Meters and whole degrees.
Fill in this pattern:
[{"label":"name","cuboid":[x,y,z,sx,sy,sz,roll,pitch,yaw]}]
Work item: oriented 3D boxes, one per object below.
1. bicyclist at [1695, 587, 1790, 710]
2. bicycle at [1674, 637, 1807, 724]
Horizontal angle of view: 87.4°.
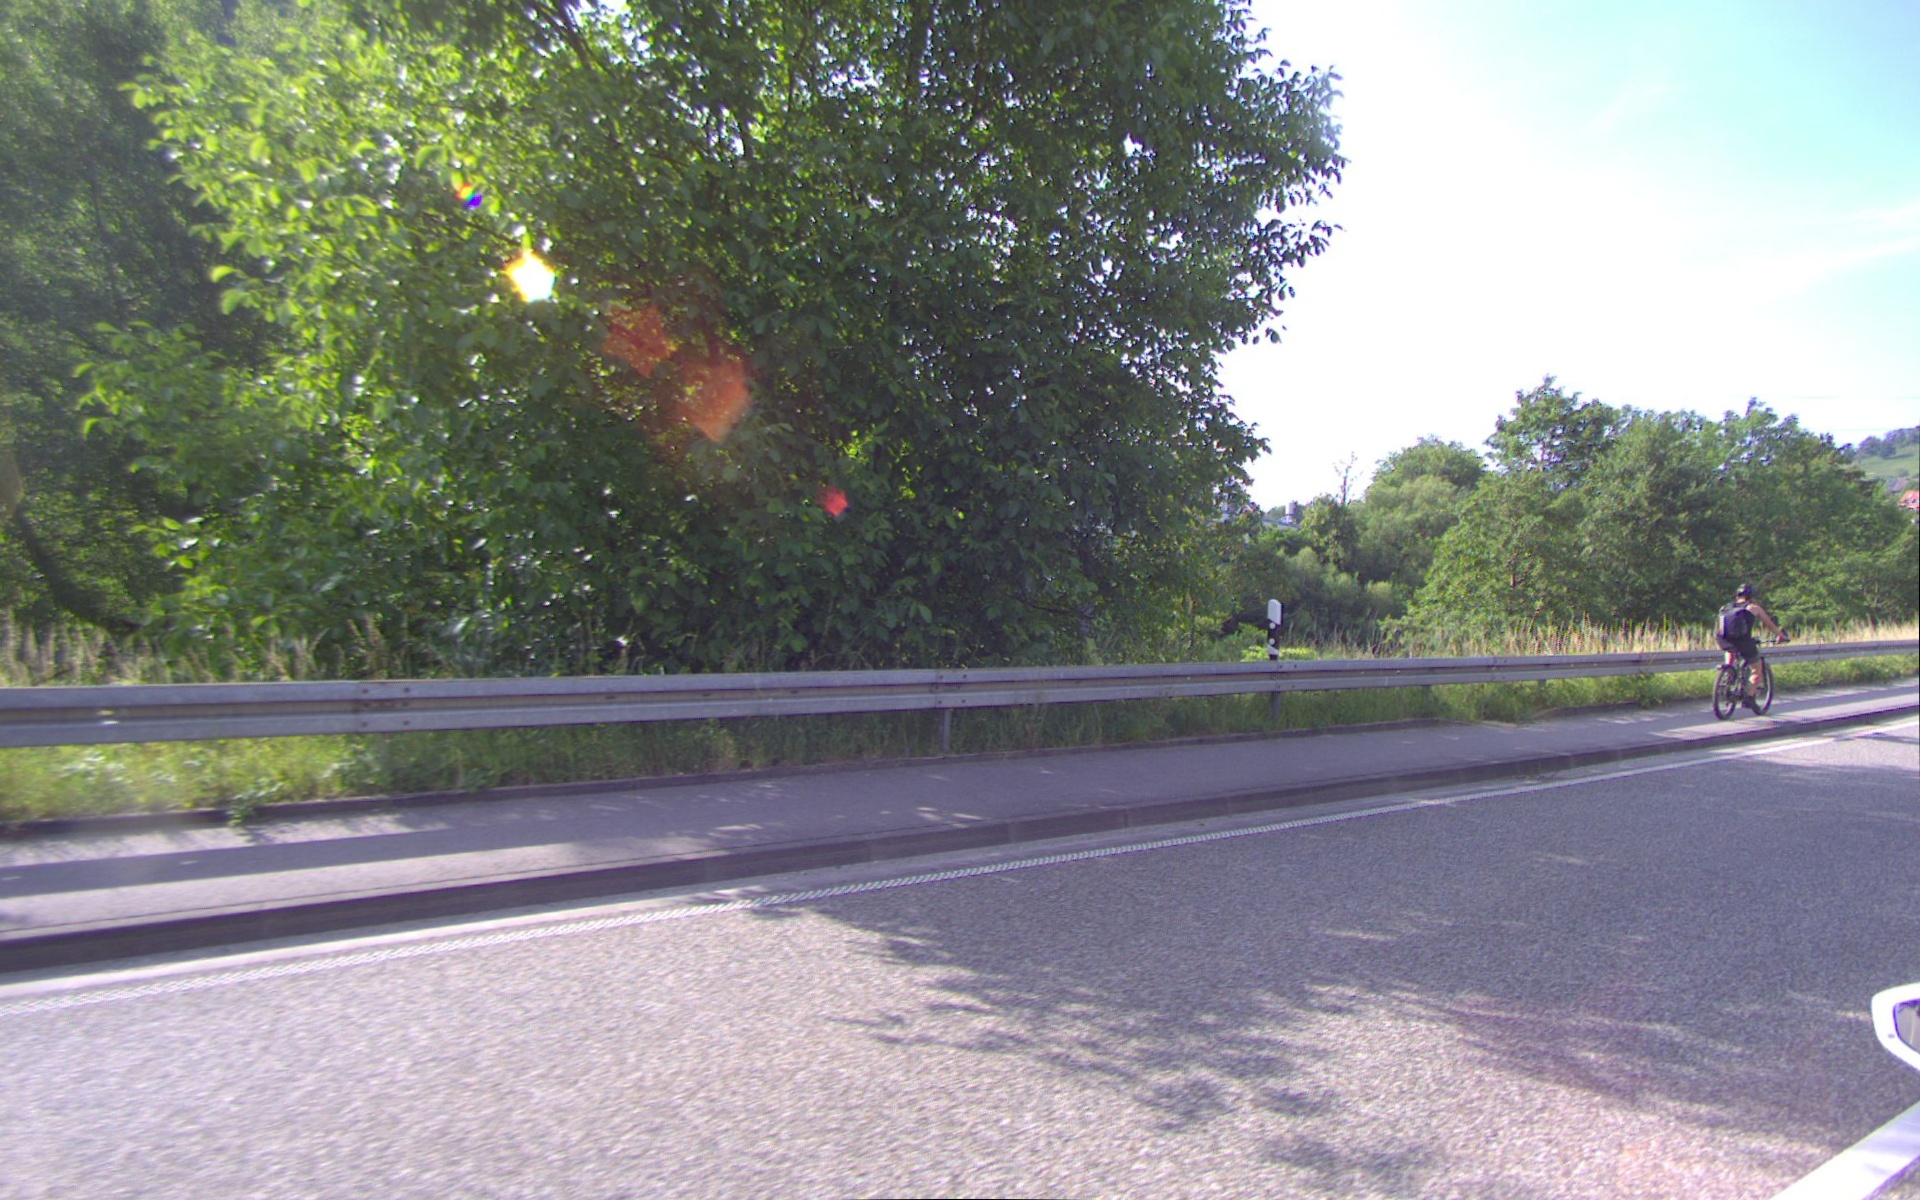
[{"label":"bicyclist","cuboid":[10.774,0.652,13.837,1.023,1.608,0.555,0,5,-29]},{"label":"bicycle","cuboid":[10.821,1.081,13.905,2.202,1.060,0.555,1,5,-29]}]
